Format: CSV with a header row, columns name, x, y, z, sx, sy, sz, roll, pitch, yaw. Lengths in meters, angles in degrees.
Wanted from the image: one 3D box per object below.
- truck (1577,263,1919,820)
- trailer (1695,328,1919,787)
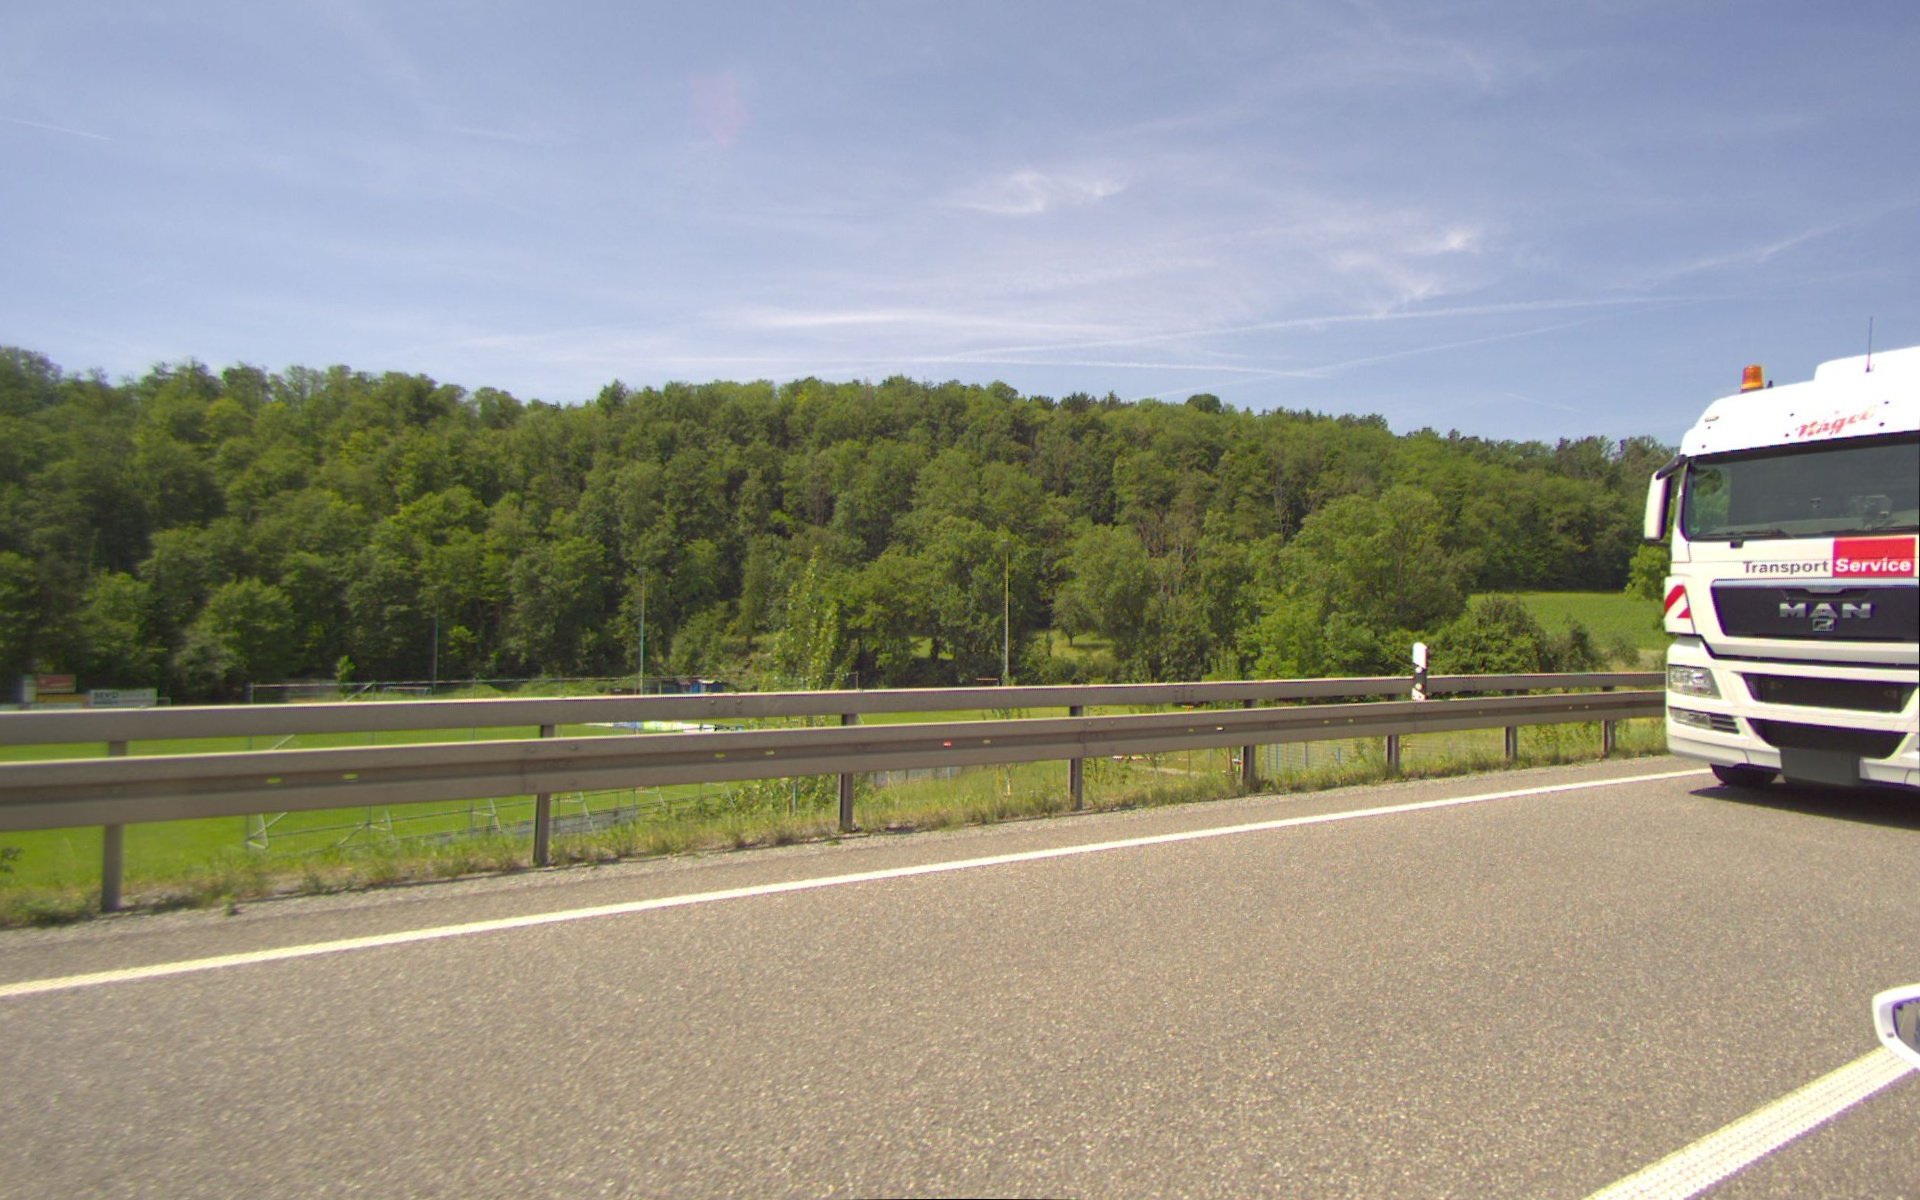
name,x,y,z,sx,sy,sz,roll,pitch,yaw
truck,9.359,-0.348,9.556,6.540,4.010,3.105,1,-1,-29
trailer,15.018,-0.206,12.615,15.164,4.032,3.106,1,-1,-28
